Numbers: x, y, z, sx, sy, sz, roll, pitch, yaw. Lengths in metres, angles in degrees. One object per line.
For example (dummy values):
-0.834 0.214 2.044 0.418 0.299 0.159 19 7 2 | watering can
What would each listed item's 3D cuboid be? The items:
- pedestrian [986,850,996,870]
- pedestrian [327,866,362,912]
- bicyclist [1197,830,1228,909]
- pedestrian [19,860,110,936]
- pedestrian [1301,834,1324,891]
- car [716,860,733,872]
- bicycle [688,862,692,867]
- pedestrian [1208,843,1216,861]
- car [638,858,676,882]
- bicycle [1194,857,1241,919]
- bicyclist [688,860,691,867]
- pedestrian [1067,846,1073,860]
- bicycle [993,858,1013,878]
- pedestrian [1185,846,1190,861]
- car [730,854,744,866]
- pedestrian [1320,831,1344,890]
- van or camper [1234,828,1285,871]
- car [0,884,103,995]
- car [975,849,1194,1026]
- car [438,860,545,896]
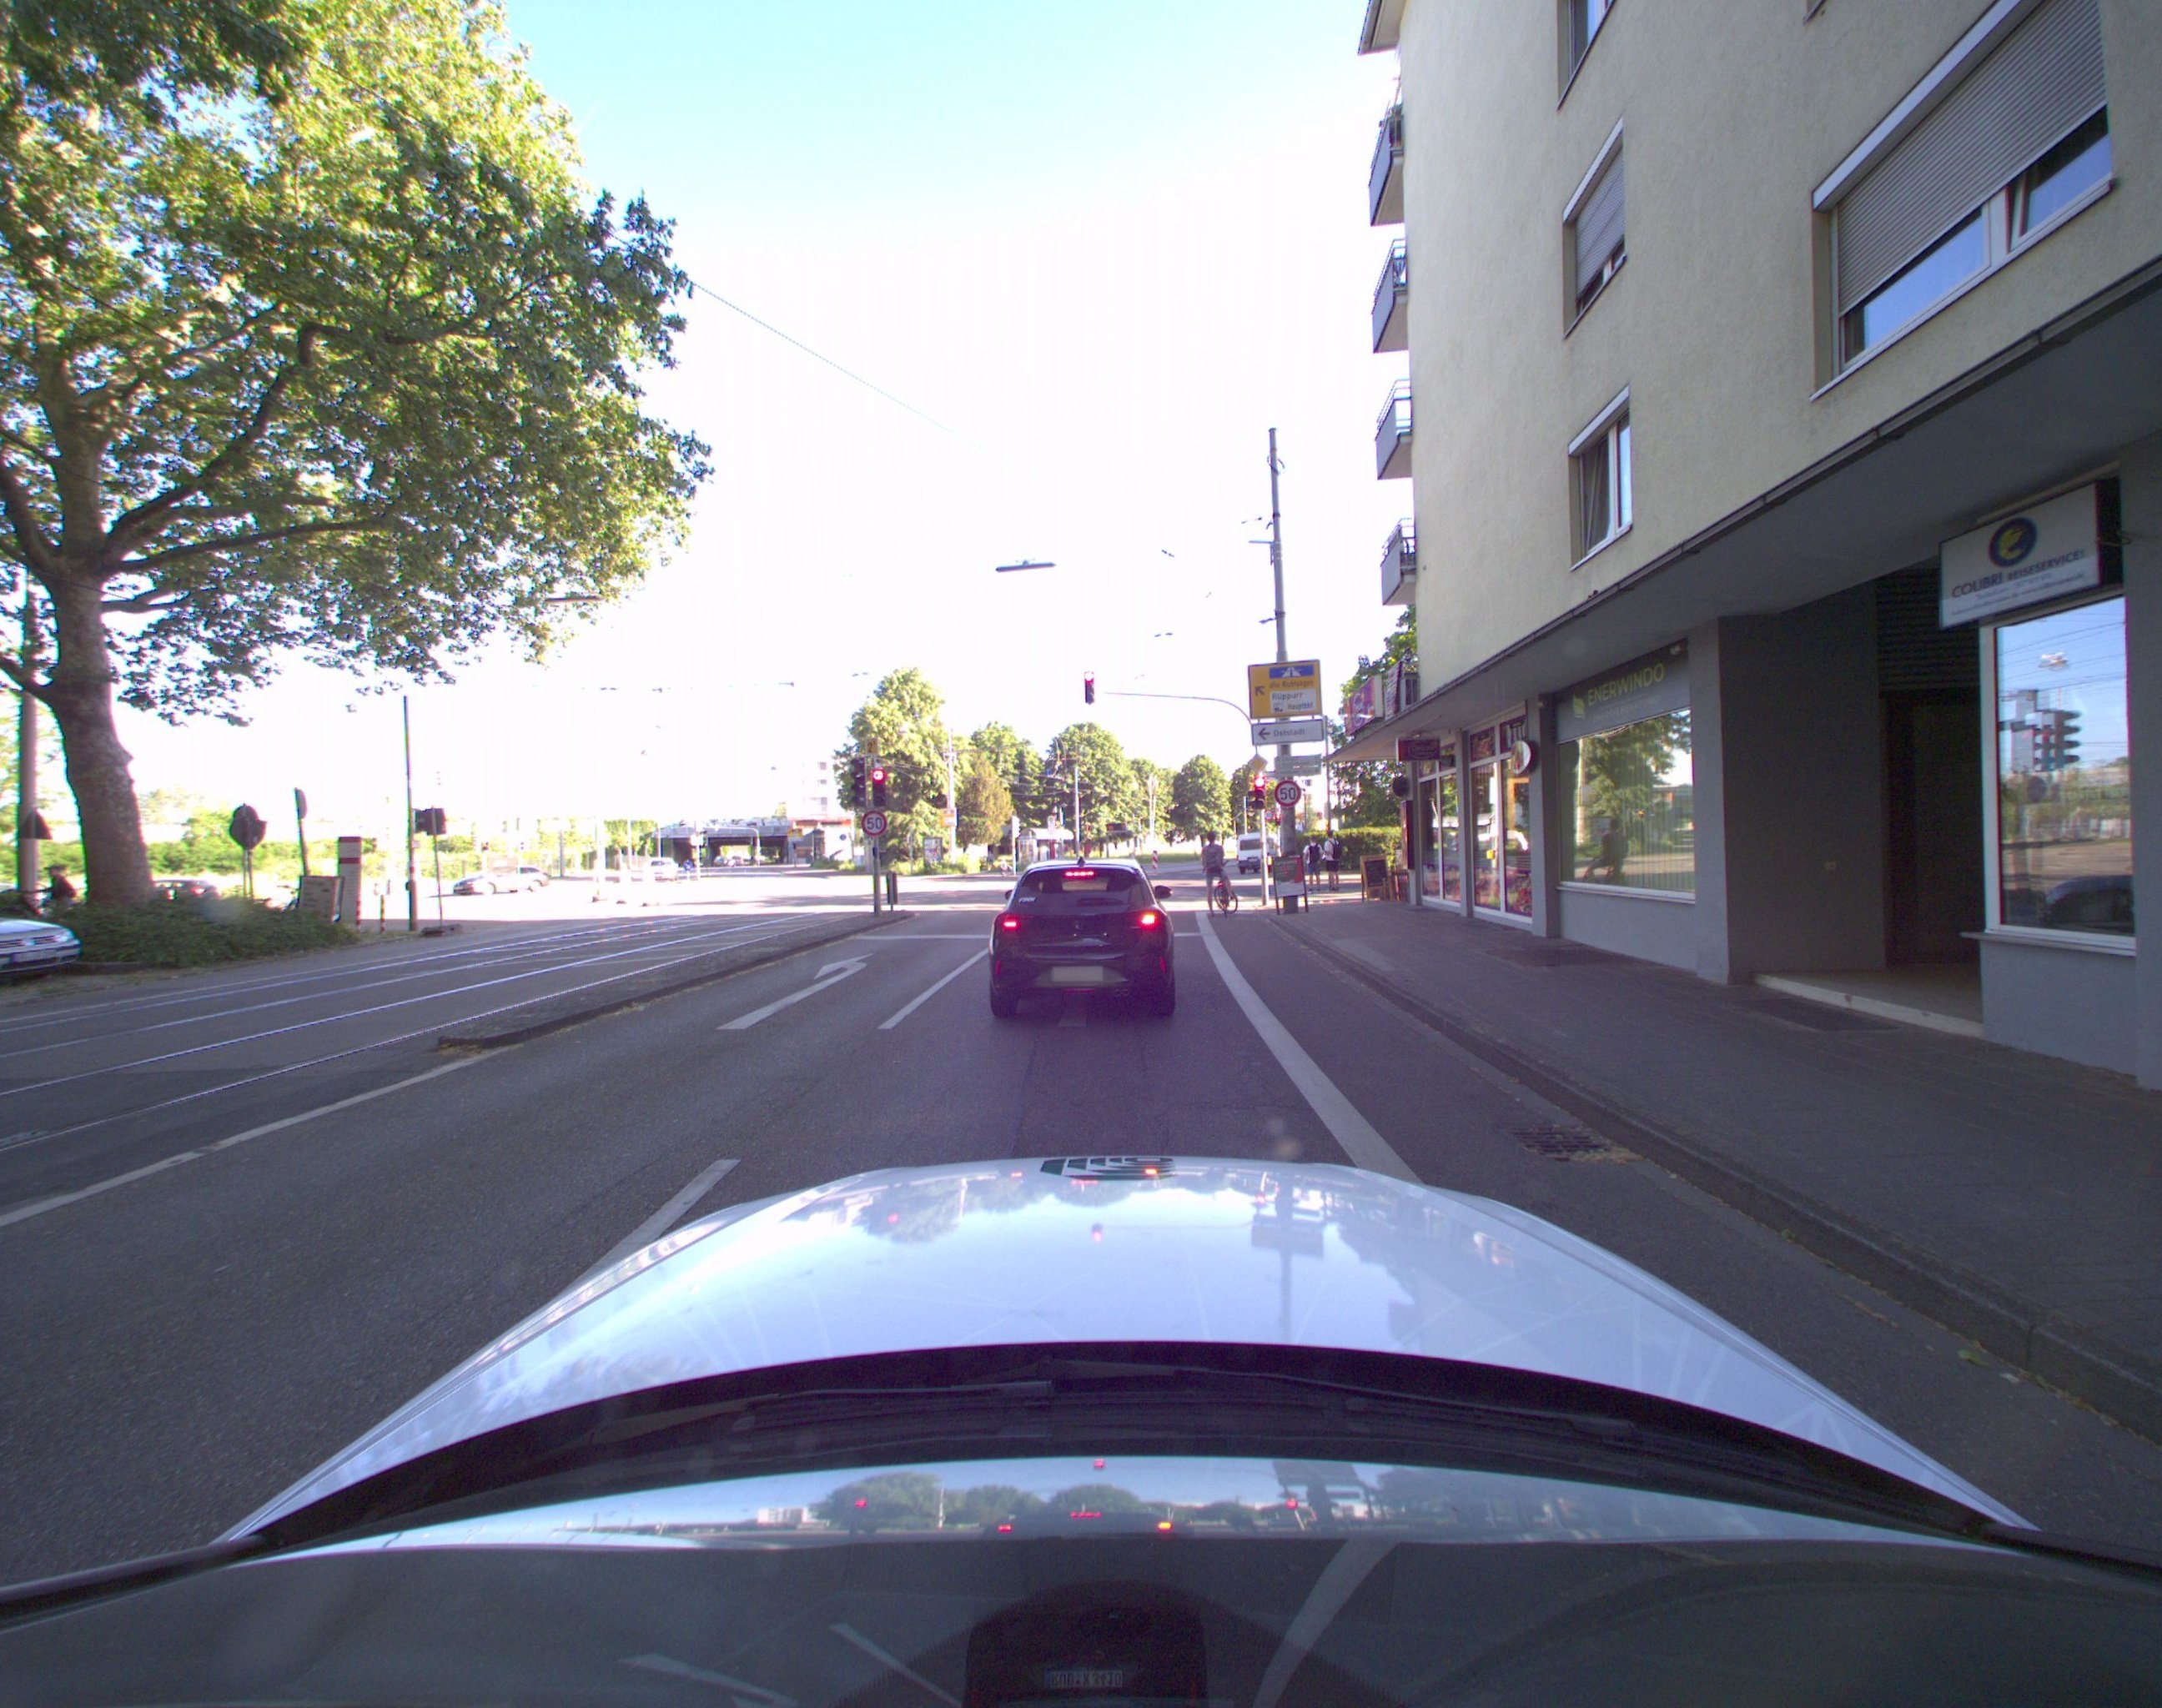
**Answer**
-6.621 0.458 59.968 0.567 1.472 0.667 -2 0 6 | pedestrian
-27.173 1.267 30.064 0.777 1.661 0.946 0 -1 -32 | pedestrian
2.863 0.335 17.773 0.529 1.692 0.571 -2 0 19 | bicyclist
-22.786 0.962 18.273 0.842 1.647 0.931 0 -1 1 | pedestrian
7.254 0.273 25.539 0.627 1.763 0.585 -1 -1 22 | pedestrian
-47.765 1.636 109.137 1.892 1.585 3.809 0 -1 -21 | car
-74.344 2.002 154.712 0.527 0.982 1.566 -1 0 -20 | bicycle
13.361 -0.220 82.972 0.598 1.872 0.522 -1 -1 26 | pedestrian
-29.213 1.068 56.191 1.892 1.585 3.809 0 -1 -21 | car
3.024 0.713 17.938 0.747 1.235 2.024 -2 0 16 | bicycle
-74.351 1.805 154.716 0.527 1.222 0.526 -1 0 -19 | bicyclist
-1.457 -0.192 109.599 0.736 1.872 0.661 0 -1 -4 | pedestrian
-4.441 0.774 46.515 0.793 1.064 2.186 -2 0 2 | bicycle
12.993 -0.085 99.316 0.600 1.872 0.521 -1 -1 8 | pedestrian
-55.006 0.978 130.216 1.916 1.881 4.811 -2 0 -21 | car
7.844 0.196 25.452 0.627 1.820 0.749 -1 -1 22 | pedestrian
10.179 -0.225 46.164 2.011 2.310 4.565 -1 -1 23 | van or camper
-16.628 1.195 11.333 3.957 1.453 1.670 -1 0 -1 | car
0.094 0.701 8.920 1.833 1.462 3.985 -1 0 2 | car
-31.181 1.238 43.242 1.784 1.662 4.375 -2 0 16 | car
